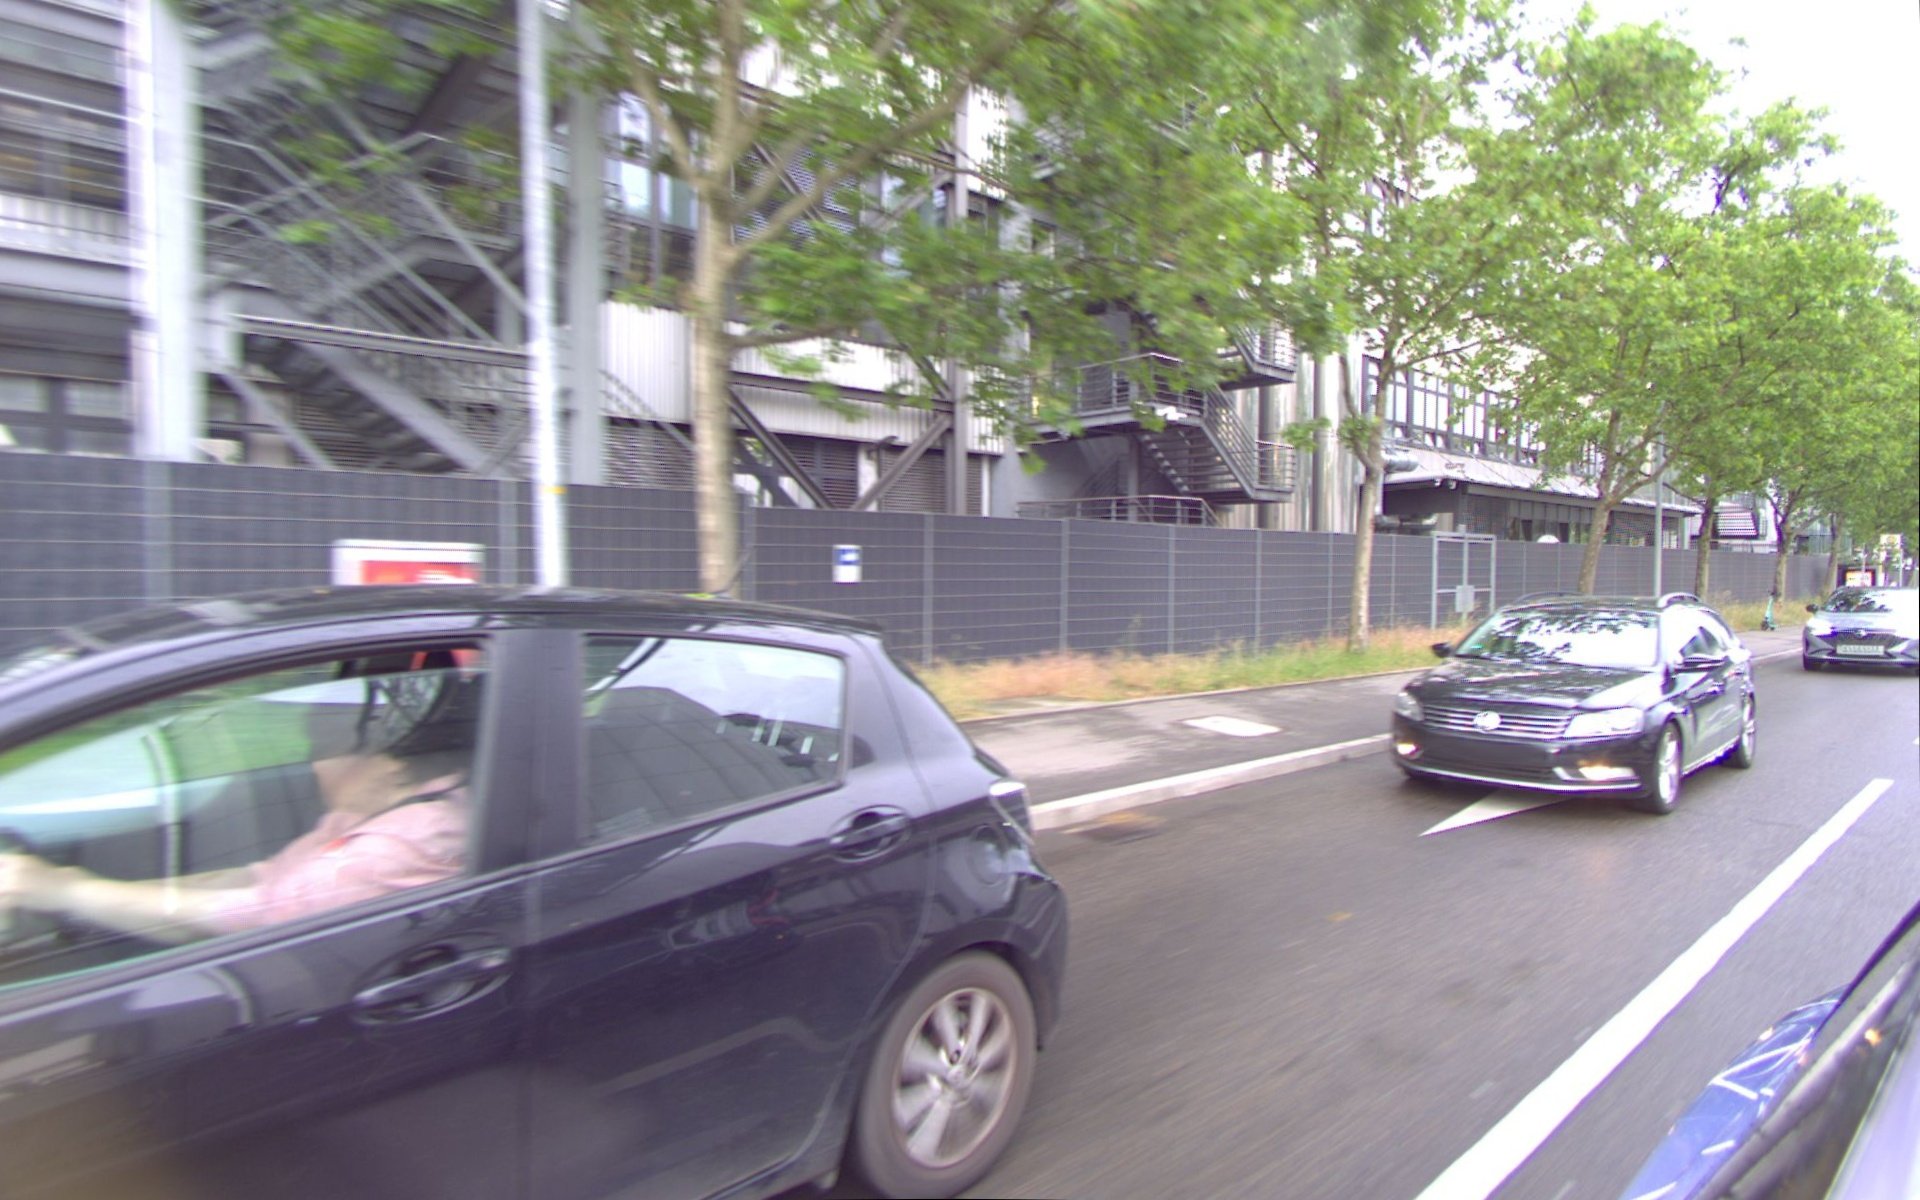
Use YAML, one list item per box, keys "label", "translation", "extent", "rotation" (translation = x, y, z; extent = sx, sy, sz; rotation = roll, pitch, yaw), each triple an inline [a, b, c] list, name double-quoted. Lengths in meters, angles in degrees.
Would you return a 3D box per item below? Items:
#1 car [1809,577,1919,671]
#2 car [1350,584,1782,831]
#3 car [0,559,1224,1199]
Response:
- label: "car"
  translation: [17.859, 0.384, 19.405]
  extent: [4.258, 1.610, 1.824]
  rotation: [-1, 2, -42]
- label: "car"
  translation: [5.040, 0.601, 8.122]
  extent: [4.440, 1.448, 1.747]
  rotation: [-1, 1, -42]
- label: "car"
  translation: [-1.471, 0.672, 2.206]
  extent: [4.561, 1.488, 1.747]
  rotation: [-1, 1, -42]
